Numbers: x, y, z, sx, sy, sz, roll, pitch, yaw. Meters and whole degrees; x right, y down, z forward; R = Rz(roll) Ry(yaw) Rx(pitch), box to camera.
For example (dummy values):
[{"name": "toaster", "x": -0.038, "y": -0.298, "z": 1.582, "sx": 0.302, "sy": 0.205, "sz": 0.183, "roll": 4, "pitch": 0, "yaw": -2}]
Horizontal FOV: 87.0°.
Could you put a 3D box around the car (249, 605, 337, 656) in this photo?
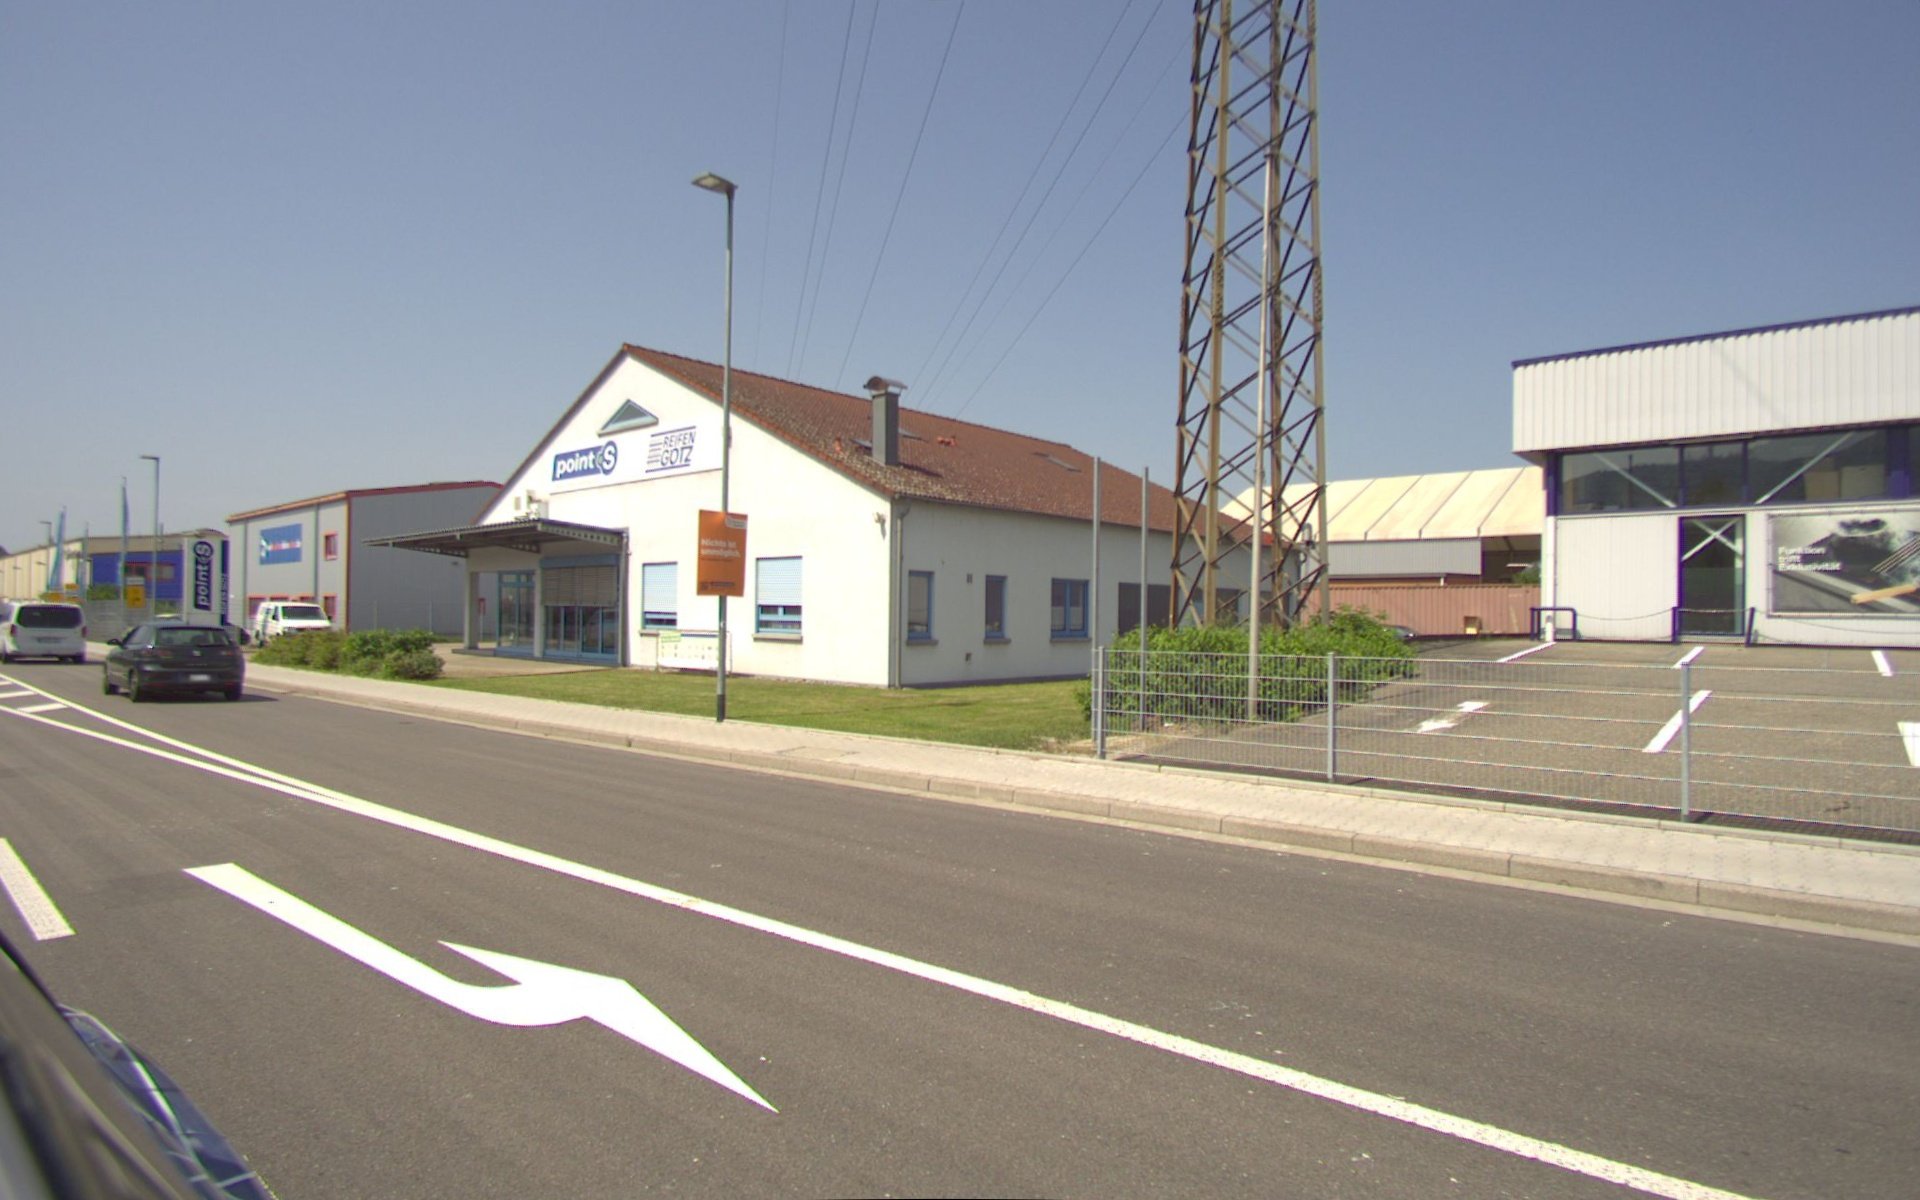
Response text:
[{"name": "car", "x": -28.182, "y": 1.261, "z": 42.701, "sx": 4.680, "sy": 2.029, "sz": 1.972, "roll": 0, "pitch": -2, "yaw": 43}]

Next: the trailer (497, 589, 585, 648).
[{"name": "trailer", "x": -21.524, "y": 0.898, "z": 51.910, "sx": 5.122, "sy": 2.870, "sz": 2.139, "roll": 0, "pitch": 0, "yaw": 42}]

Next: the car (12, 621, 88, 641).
[{"name": "car", "x": -70.884, "y": 2.408, "z": 78.908, "sx": 4.090, "sy": 1.514, "sz": 1.781, "roll": 1, "pitch": -2, "yaw": -26}]

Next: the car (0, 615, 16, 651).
[{"name": "car", "x": -45.273, "y": 1.493, "z": 46.988, "sx": 3.971, "sy": 1.612, "sz": 1.651, "roll": -1, "pitch": -4, "yaw": 42}]

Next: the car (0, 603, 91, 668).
[{"name": "car", "x": -29.188, "y": 1.076, "z": 31.878, "sx": 5.167, "sy": 1.888, "sz": 1.973, "roll": 0, "pitch": -2, "yaw": 41}]

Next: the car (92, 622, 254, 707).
[{"name": "car", "x": -14.910, "y": 1.170, "z": 19.105, "sx": 3.998, "sy": 1.434, "sz": 1.653, "roll": -1, "pitch": -4, "yaw": 41}]
